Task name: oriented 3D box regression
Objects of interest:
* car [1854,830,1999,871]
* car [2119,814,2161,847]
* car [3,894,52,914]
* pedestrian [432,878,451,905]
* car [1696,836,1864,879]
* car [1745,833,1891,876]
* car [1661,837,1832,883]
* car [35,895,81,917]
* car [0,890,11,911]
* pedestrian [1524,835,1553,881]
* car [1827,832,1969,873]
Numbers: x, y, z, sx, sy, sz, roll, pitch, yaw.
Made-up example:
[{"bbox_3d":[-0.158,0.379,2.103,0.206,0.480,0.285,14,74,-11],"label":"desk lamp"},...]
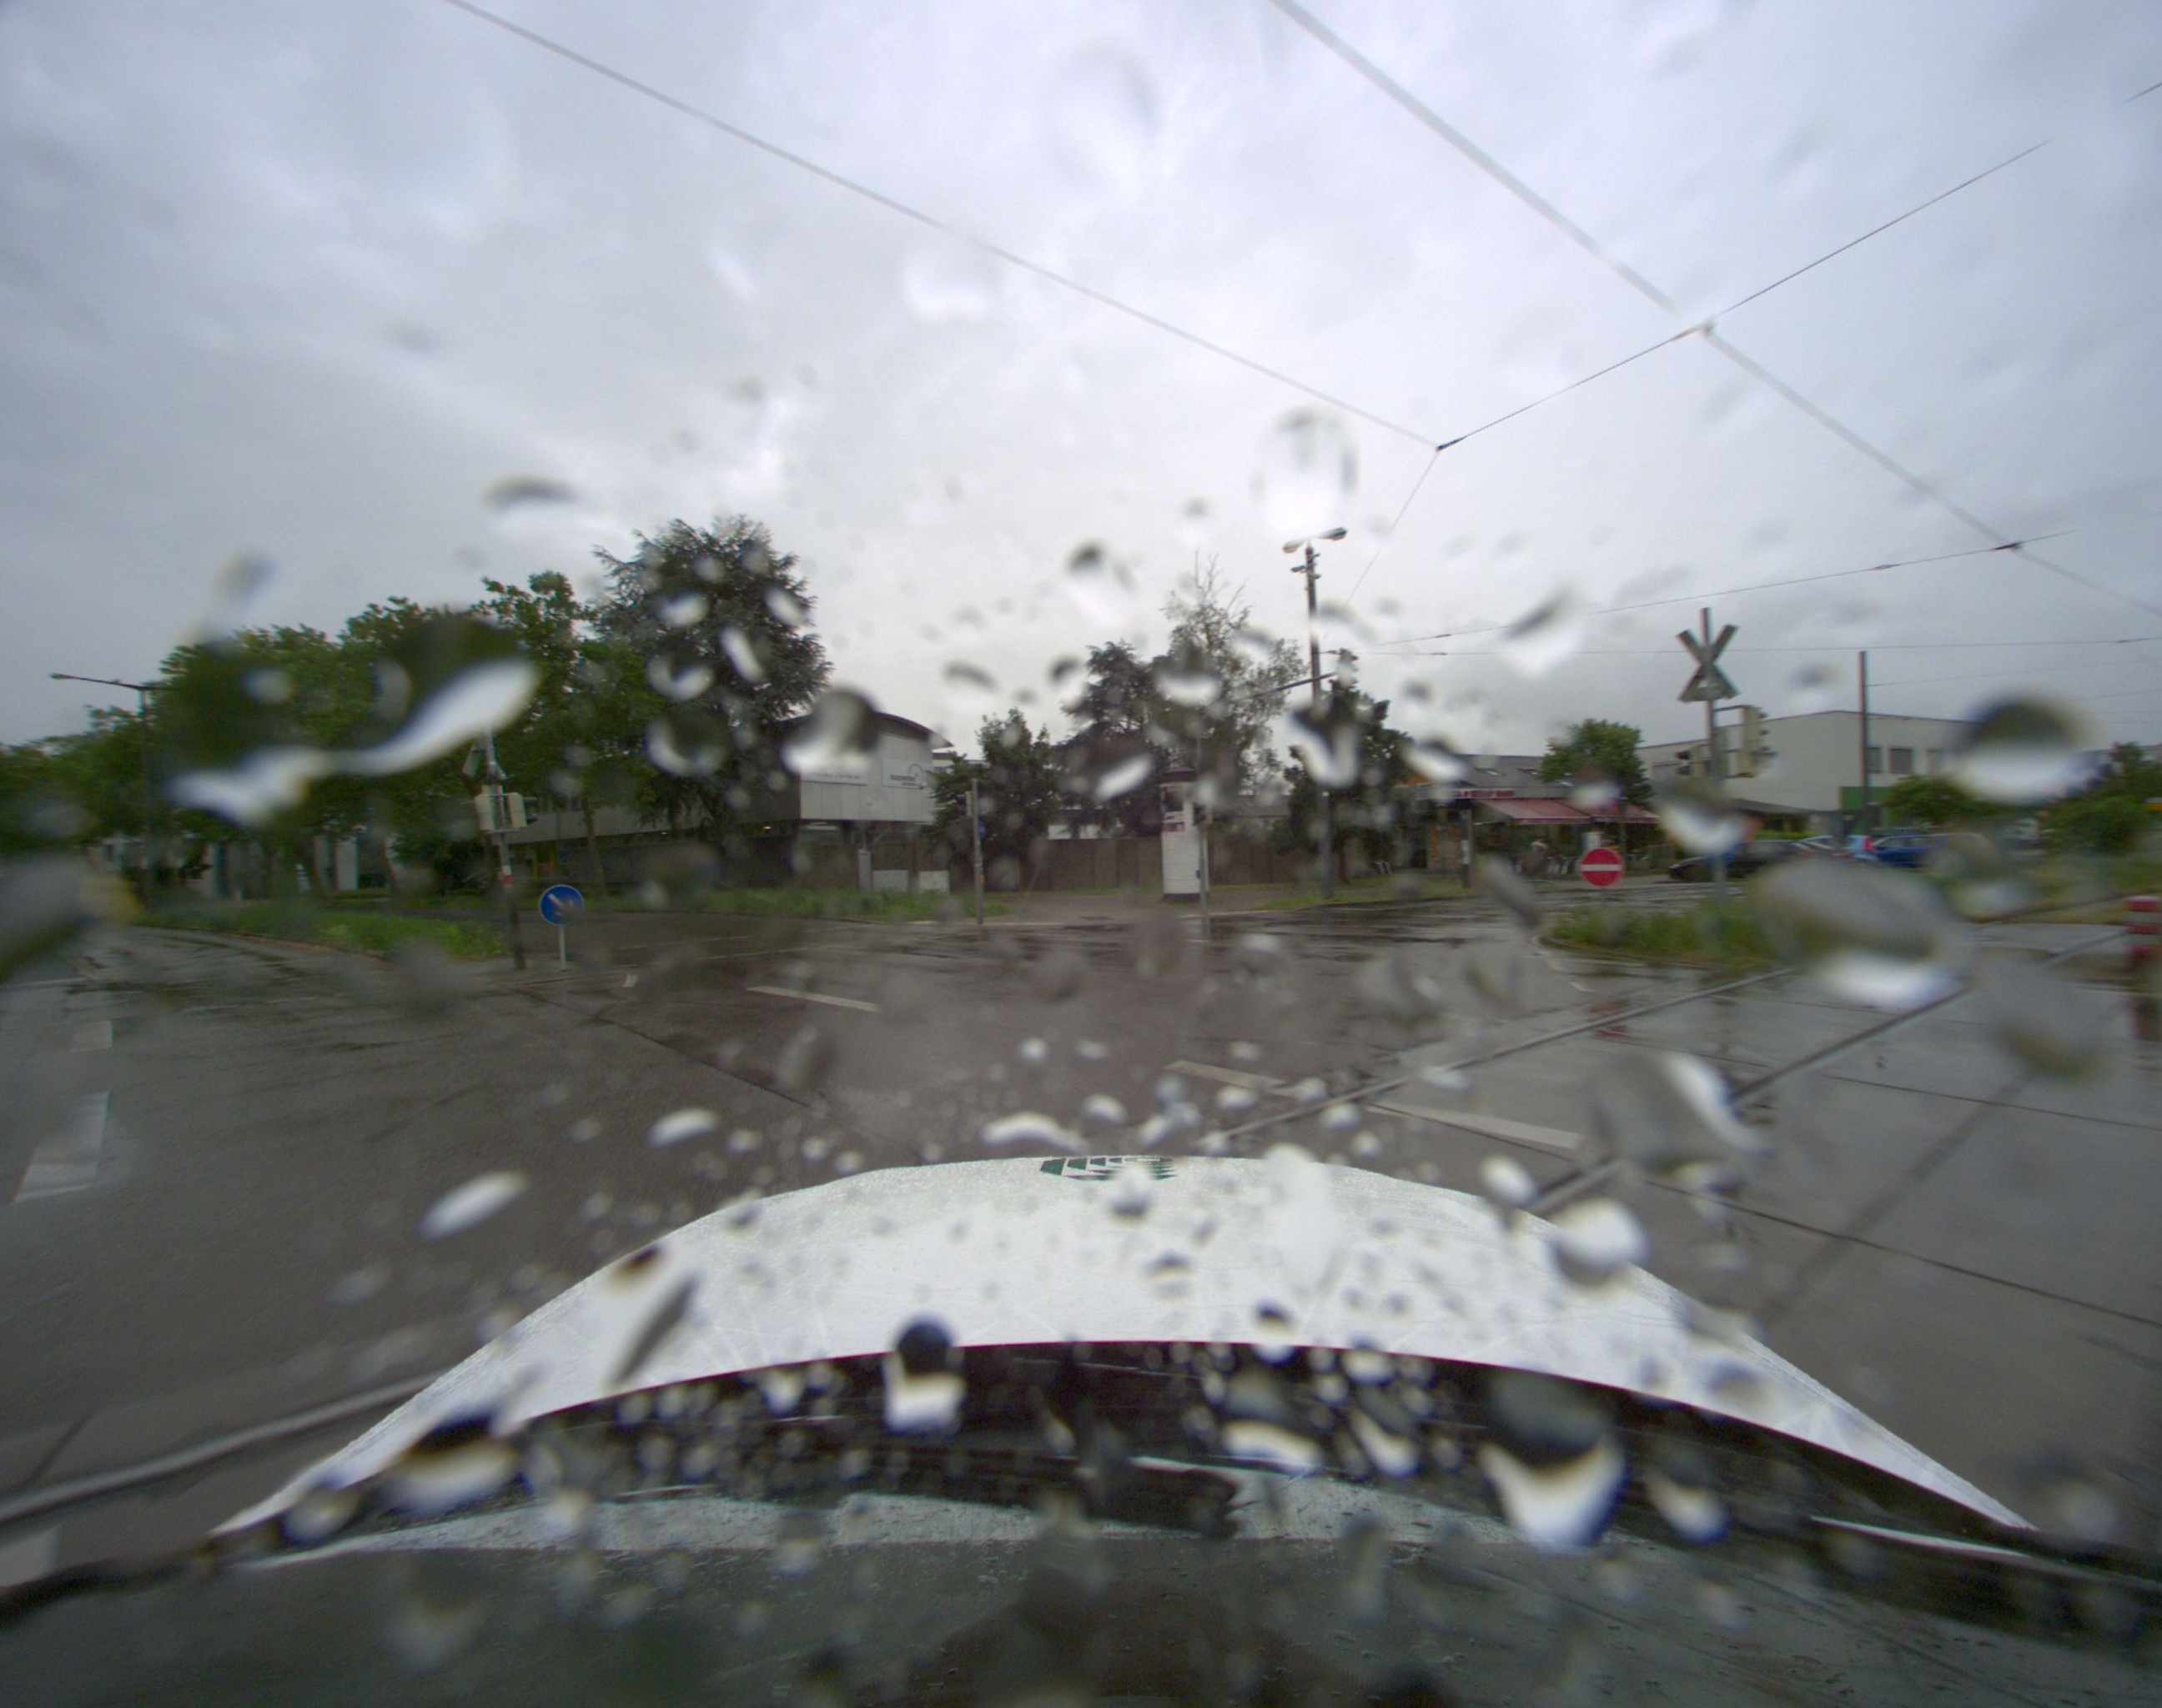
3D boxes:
[{"bbox_3d":[36.802,-0.140,35.618,4.068,1.641,1.942,-2,0,35],"label":"car"},{"bbox_3d":[62.355,-1.354,46.341,2.010,1.863,3.953,-1,1,-40],"label":"car"},{"bbox_3d":[-101.605,4.799,78.546,3.951,1.782,2.011,-1,1,24],"label":"car"},{"bbox_3d":[-41.207,2.387,52.445,0.814,1.668,0.677,-1,0,28],"label":"pedestrian"},{"bbox_3d":[26.058,0.159,30.484,1.868,1.418,4.459,-1,-2,-39],"label":"car"},{"bbox_3d":[29.052,0.052,32.211,1.867,1.582,3.956,-1,0,-36],"label":"car"},{"bbox_3d":[23.863,0.253,29.329,1.868,1.418,4.439,-1,-2,-39],"label":"car"},{"bbox_3d":[-95.112,4.800,75.735,3.949,1.782,2.012,0,1,29],"label":"car"},{"bbox_3d":[-112.196,4.747,83.411,3.952,2.088,2.140,-1,1,22],"label":"car"},{"bbox_3d":[18.111,0.139,32.248,0.891,1.797,0.718,-2,2,-40],"label":"pedestrian"},{"bbox_3d":[34.052,-0.058,34.117,3.948,1.582,1.942,-2,0,38],"label":"car"}]
